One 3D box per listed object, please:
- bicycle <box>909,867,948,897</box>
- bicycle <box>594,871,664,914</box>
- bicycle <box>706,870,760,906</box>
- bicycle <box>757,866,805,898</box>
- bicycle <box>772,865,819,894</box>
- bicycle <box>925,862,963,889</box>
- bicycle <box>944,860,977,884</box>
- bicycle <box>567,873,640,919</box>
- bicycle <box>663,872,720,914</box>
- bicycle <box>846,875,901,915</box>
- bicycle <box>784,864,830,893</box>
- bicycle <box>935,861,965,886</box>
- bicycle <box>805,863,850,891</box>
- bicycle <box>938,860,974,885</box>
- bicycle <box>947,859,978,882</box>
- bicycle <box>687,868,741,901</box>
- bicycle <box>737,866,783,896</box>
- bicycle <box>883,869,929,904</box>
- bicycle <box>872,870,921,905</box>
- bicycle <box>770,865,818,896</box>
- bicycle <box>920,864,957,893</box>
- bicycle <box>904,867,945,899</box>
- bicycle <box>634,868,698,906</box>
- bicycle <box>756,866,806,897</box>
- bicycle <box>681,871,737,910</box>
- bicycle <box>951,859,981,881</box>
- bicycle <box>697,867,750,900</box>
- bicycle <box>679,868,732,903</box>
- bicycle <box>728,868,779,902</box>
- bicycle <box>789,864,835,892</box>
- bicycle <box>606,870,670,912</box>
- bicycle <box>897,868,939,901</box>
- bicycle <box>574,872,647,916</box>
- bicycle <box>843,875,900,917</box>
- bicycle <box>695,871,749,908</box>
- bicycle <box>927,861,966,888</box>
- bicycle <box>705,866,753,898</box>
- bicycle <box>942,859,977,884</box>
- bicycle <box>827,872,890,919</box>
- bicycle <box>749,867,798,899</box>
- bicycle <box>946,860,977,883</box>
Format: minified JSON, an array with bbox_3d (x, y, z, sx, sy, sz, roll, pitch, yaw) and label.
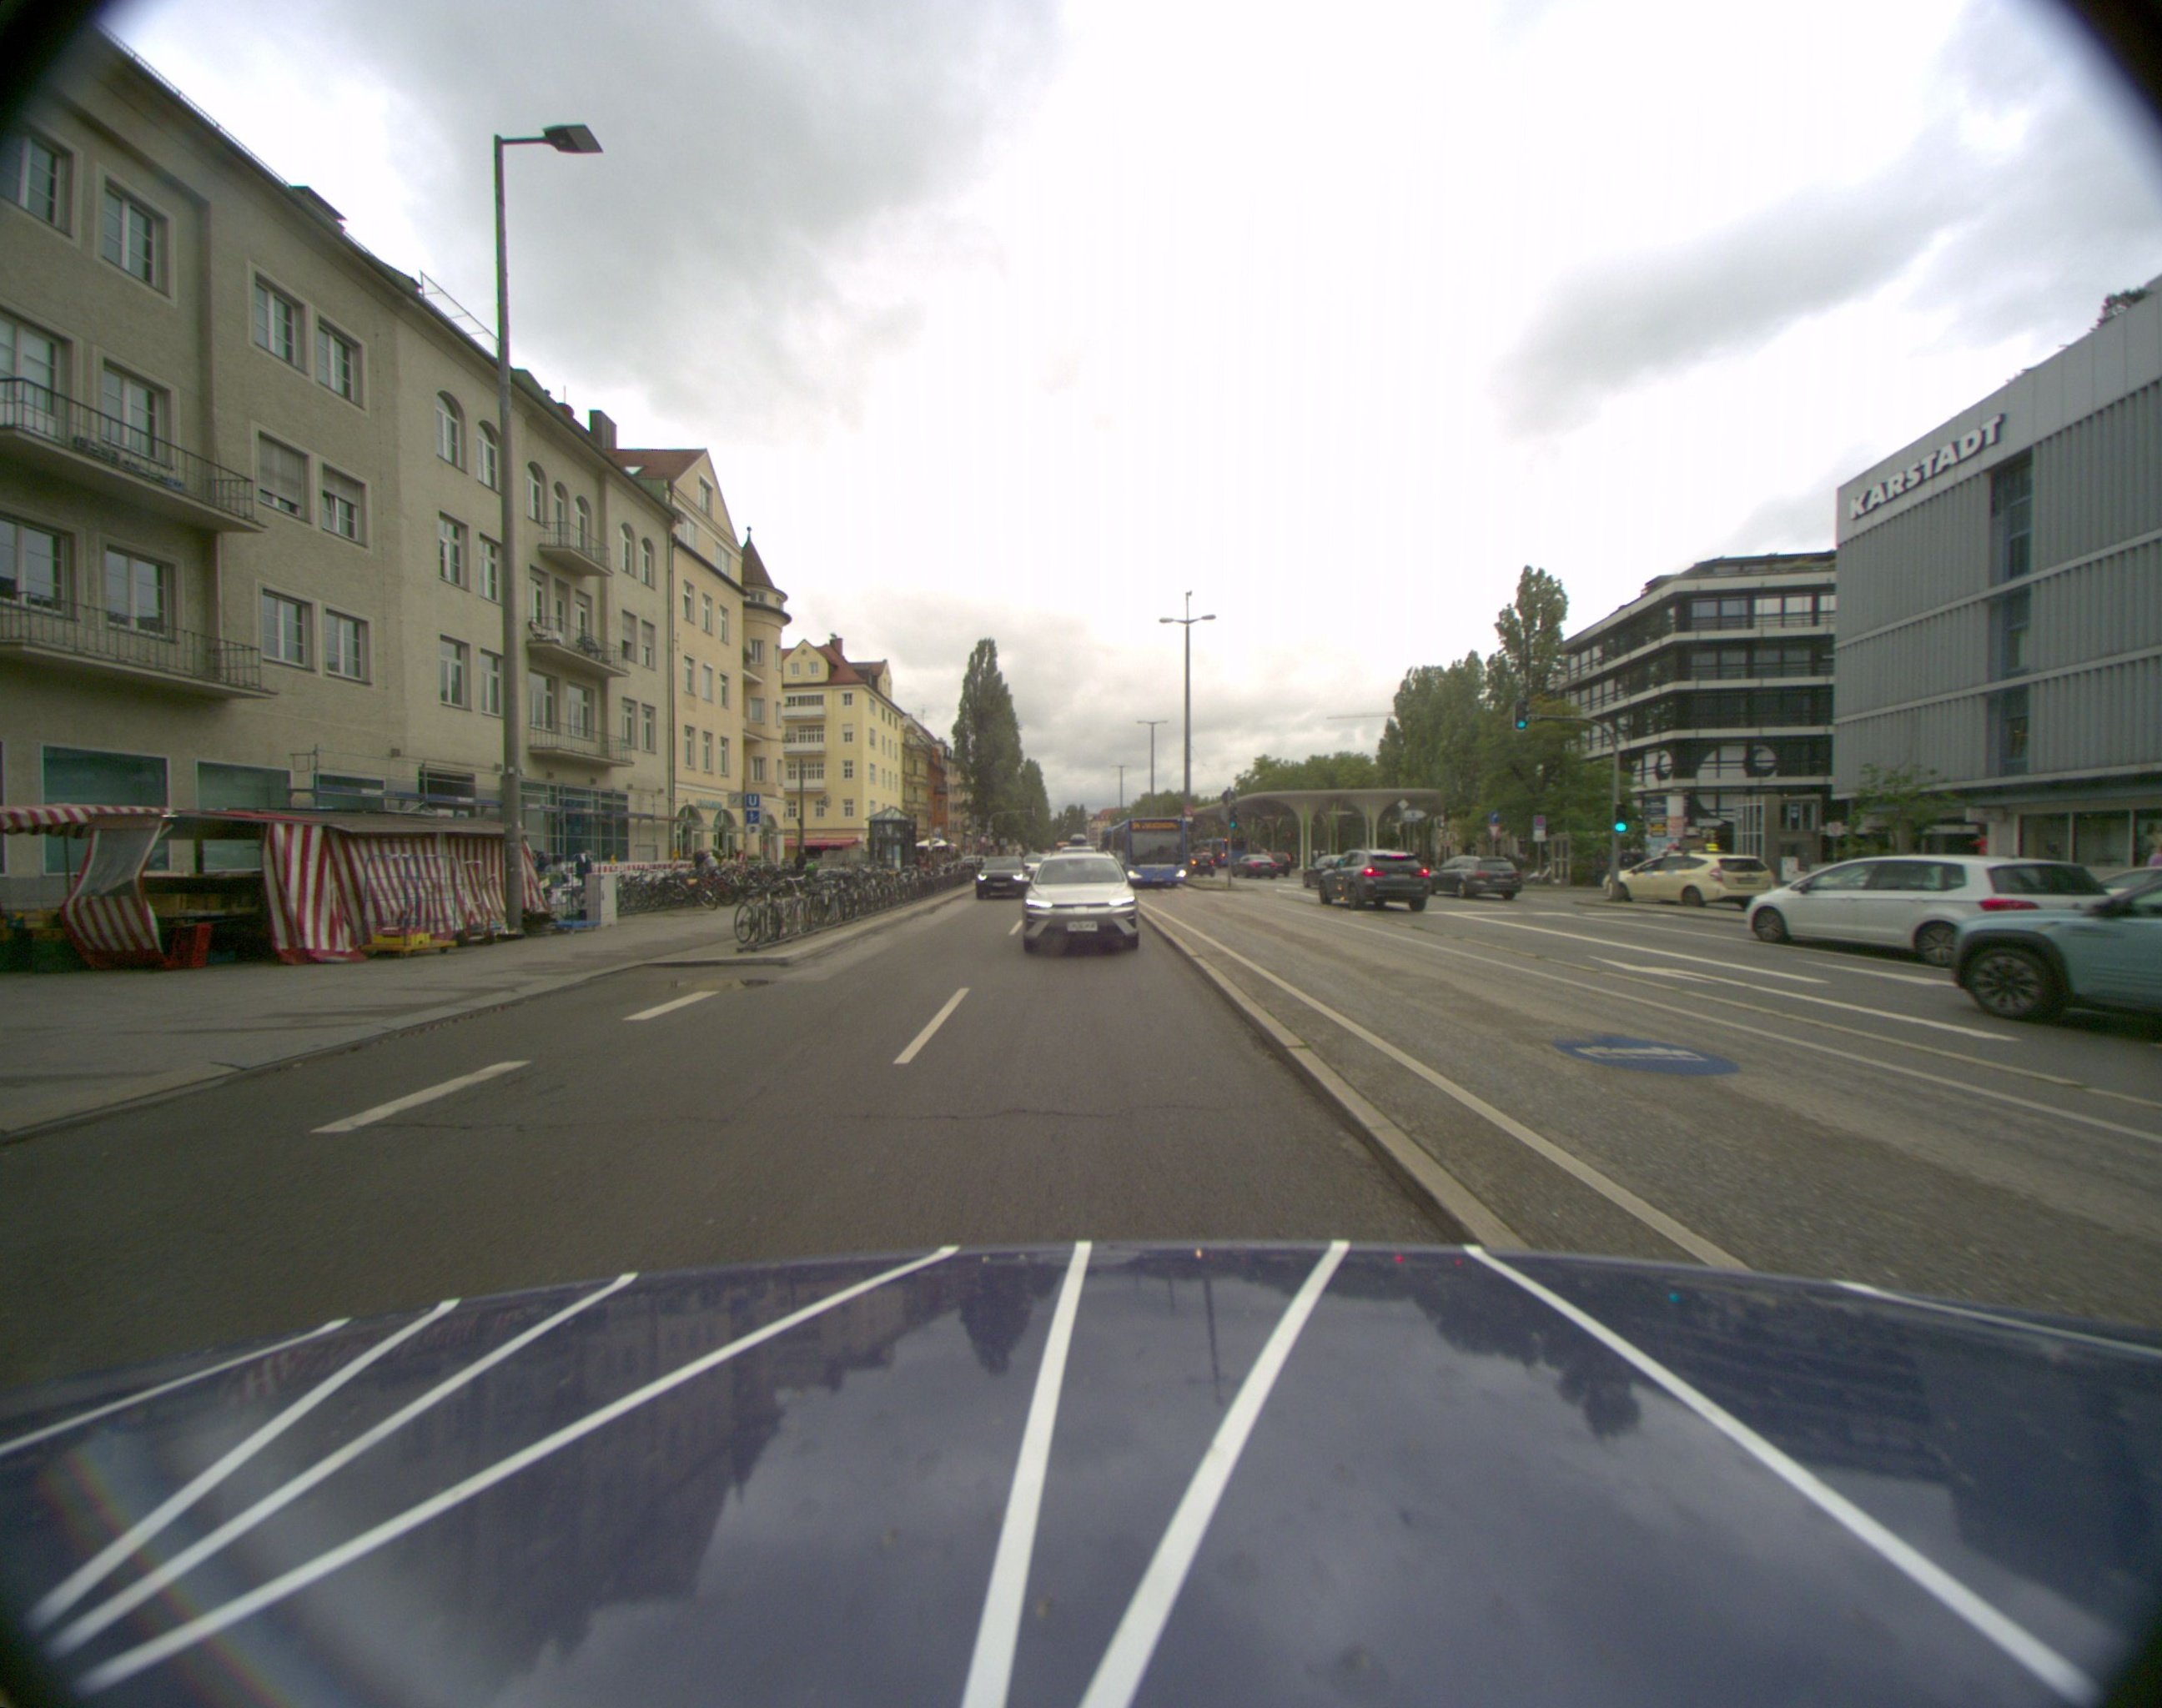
[{"bbox_3d":[-5.711,1.057,28.377,0.398,1.053,1.848,-3,-1,-45],"label":"bicycle"},{"bbox_3d":[-11.995,1.013,20.200,1.632,1.097,0.410,1,1,2],"label":"bicycle"},{"bbox_3d":[-10.641,1.026,23.246,1.453,1.071,0.410,1,1,-9],"label":"bicycle"},{"bbox_3d":[-10.631,0.983,26.902,1.528,1.071,0.410,1,1,-2],"label":"bicycle"},{"bbox_3d":[-10.805,0.964,28.748,1.625,1.071,0.410,1,1,-2],"label":"bicycle"},{"bbox_3d":[-5.851,0.919,32.438,1.790,1.131,0.490,-1,1,38],"label":"bicycle"},{"bbox_3d":[-5.679,0.847,35.799,1.673,1.131,0.479,-1,1,39],"label":"bicycle"},{"bbox_3d":[-11.941,1.035,19.007,1.632,1.097,0.410,1,1,5],"label":"bicycle"},{"bbox_3d":[-10.524,1.049,20.536,1.471,1.071,0.410,1,1,15],"label":"bicycle"},{"bbox_3d":[-5.621,1.107,20.499,1.797,1.004,0.387,-4,-1,38],"label":"bicycle"},{"bbox_3d":[-10.584,0.945,29.382,1.605,1.071,0.410,1,1,-2],"label":"bicycle"},{"bbox_3d":[-5.930,0.884,34.318,1.521,1.131,0.349,-1,1,36],"label":"bicycle"},{"bbox_3d":[-10.293,0.937,30.928,0.409,1.071,1.765,2,1,40],"label":"bicycle"},{"bbox_3d":[-5.743,0.866,34.948,1.674,1.131,0.479,-1,1,30],"label":"bicycle"},{"bbox_3d":[-6.066,0.863,38.809,1.848,1.053,0.398,-5,-1,43],"label":"bicycle"},{"bbox_3d":[-12.026,0.997,24.929,1.536,1.071,0.410,1,1,-8],"label":"bicycle"},{"bbox_3d":[-12.004,1.008,28.397,1.530,1.071,0.410,1,1,-2],"label":"bicycle"},{"bbox_3d":[-5.736,1.085,24.851,1.797,1.053,0.398,-4,-1,38],"label":"bicycle"},{"bbox_3d":[-5.720,1.051,23.469,1.797,1.004,0.387,-4,-1,38],"label":"bicycle"},{"bbox_3d":[-10.565,0.972,28.013,1.637,1.071,0.410,1,1,4],"label":"bicycle"},{"bbox_3d":[-5.679,0.957,30.261,1.790,1.131,0.490,-1,2,44],"label":"bicycle"},{"bbox_3d":[-5.544,1.051,26.879,0.398,1.053,1.848,-3,-1,-45],"label":"bicycle"},{"bbox_3d":[-12.265,0.969,22.487,1.634,1.097,0.410,1,1,-10],"label":"bicycle"},{"bbox_3d":[-10.852,0.990,27.507,1.661,1.071,0.410,1,1,2],"label":"bicycle"},{"bbox_3d":[-10.842,1.061,22.164,1.481,1.071,0.410,1,1,5],"label":"bicycle"},{"bbox_3d":[-5.978,0.847,39.460,1.848,1.053,0.398,-5,-1,43],"label":"bicycle"},{"bbox_3d":[-12.004,0.985,25.527,1.536,1.071,0.410,1,1,-8],"label":"bicycle"},{"bbox_3d":[-12.017,1.009,24.318,1.453,1.071,0.410,1,1,-9],"label":"bicycle"},{"bbox_3d":[-10.562,1.006,24.545,1.453,1.071,0.410,1,1,-9],"label":"bicycle"},{"bbox_3d":[-10.539,0.935,29.834,1.655,1.071,0.410,1,1,-2],"label":"bicycle"},{"bbox_3d":[-12.149,1.005,20.837,1.632,1.097,0.410,1,1,9],"label":"bicycle"},{"bbox_3d":[-5.677,1.069,26.388,0.398,1.053,1.848,-3,-1,-45],"label":"bicycle"},{"bbox_3d":[-12.104,1.029,19.565,1.632,1.097,0.410,1,1,2],"label":"bicycle"},{"bbox_3d":[-5.478,1.102,19.806,1.797,1.004,0.387,-4,-1,38],"label":"bicycle"},{"bbox_3d":[-10.690,1.047,22.639,1.451,1.071,0.410,1,1,8],"label":"bicycle"},{"bbox_3d":[-5.959,0.898,33.679,1.790,1.131,0.591,-1,1,36],"label":"bicycle"},{"bbox_3d":[-12.124,0.975,26.183,1.453,1.071,0.410,1,1,-9],"label":"bicycle"},{"bbox_3d":[-5.844,0.837,36.561,1.780,1.131,0.479,-1,1,34],"label":"bicycle"},{"bbox_3d":[-5.672,1.071,19.313,1.797,1.098,0.548,-4,-1,38],"label":"bicycle"},{"bbox_3d":[-10.647,0.995,26.313,1.539,1.071,0.410,1,1,-2],"label":"bicycle"},{"bbox_3d":[-6.001,0.874,38.114,1.848,1.053,0.398,-5,-1,43],"label":"bicycle"}]
